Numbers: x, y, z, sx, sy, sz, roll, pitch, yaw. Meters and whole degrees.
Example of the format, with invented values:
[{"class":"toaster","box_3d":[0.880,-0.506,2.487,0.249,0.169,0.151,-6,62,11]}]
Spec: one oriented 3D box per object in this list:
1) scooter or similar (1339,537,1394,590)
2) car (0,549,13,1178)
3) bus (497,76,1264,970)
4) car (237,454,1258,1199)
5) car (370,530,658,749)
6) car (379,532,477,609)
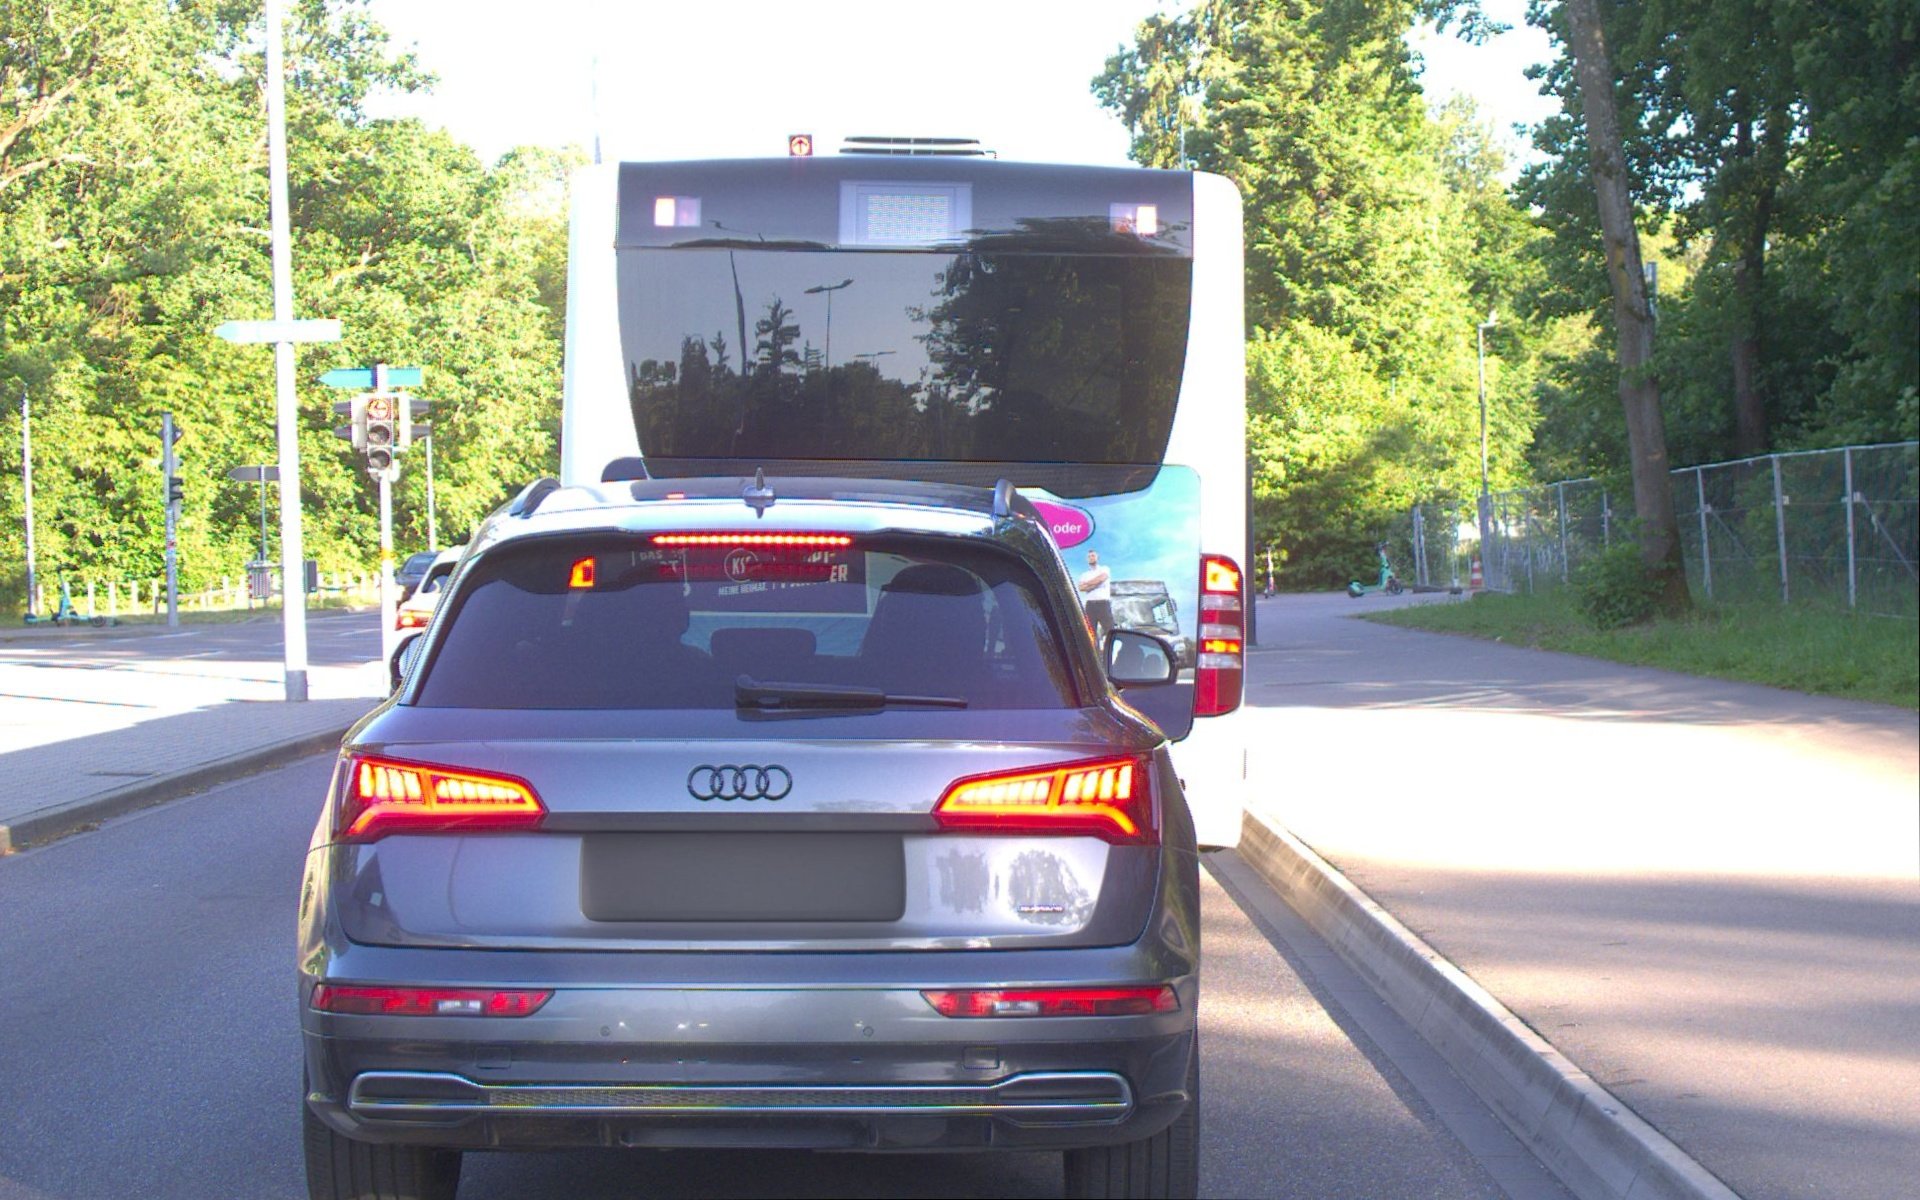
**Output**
[{"class":"scooter or similar","box_3d":[9.223,-0.828,77.990,1.184,1.170,0.659,1,1,11]},{"class":"car","box_3d":[-3.059,0.649,5.775,1.785,1.439,4.278,1,2,-1]},{"class":"bus","box_3d":[-0.254,-0.351,15.125,2.678,3.131,5.882,1,2,1]},{"class":"car","box_3d":[-0.418,0.517,8.355,1.868,1.658,4.000,1,2,-1]},{"class":"car","box_3d":[-3.477,0.254,27.427,1.808,1.567,4.000,1,2,-1]},{"class":"car","box_3d":[-12.274,-0.697,79.446,1.993,1.656,4.001,-2,1,-6]}]
